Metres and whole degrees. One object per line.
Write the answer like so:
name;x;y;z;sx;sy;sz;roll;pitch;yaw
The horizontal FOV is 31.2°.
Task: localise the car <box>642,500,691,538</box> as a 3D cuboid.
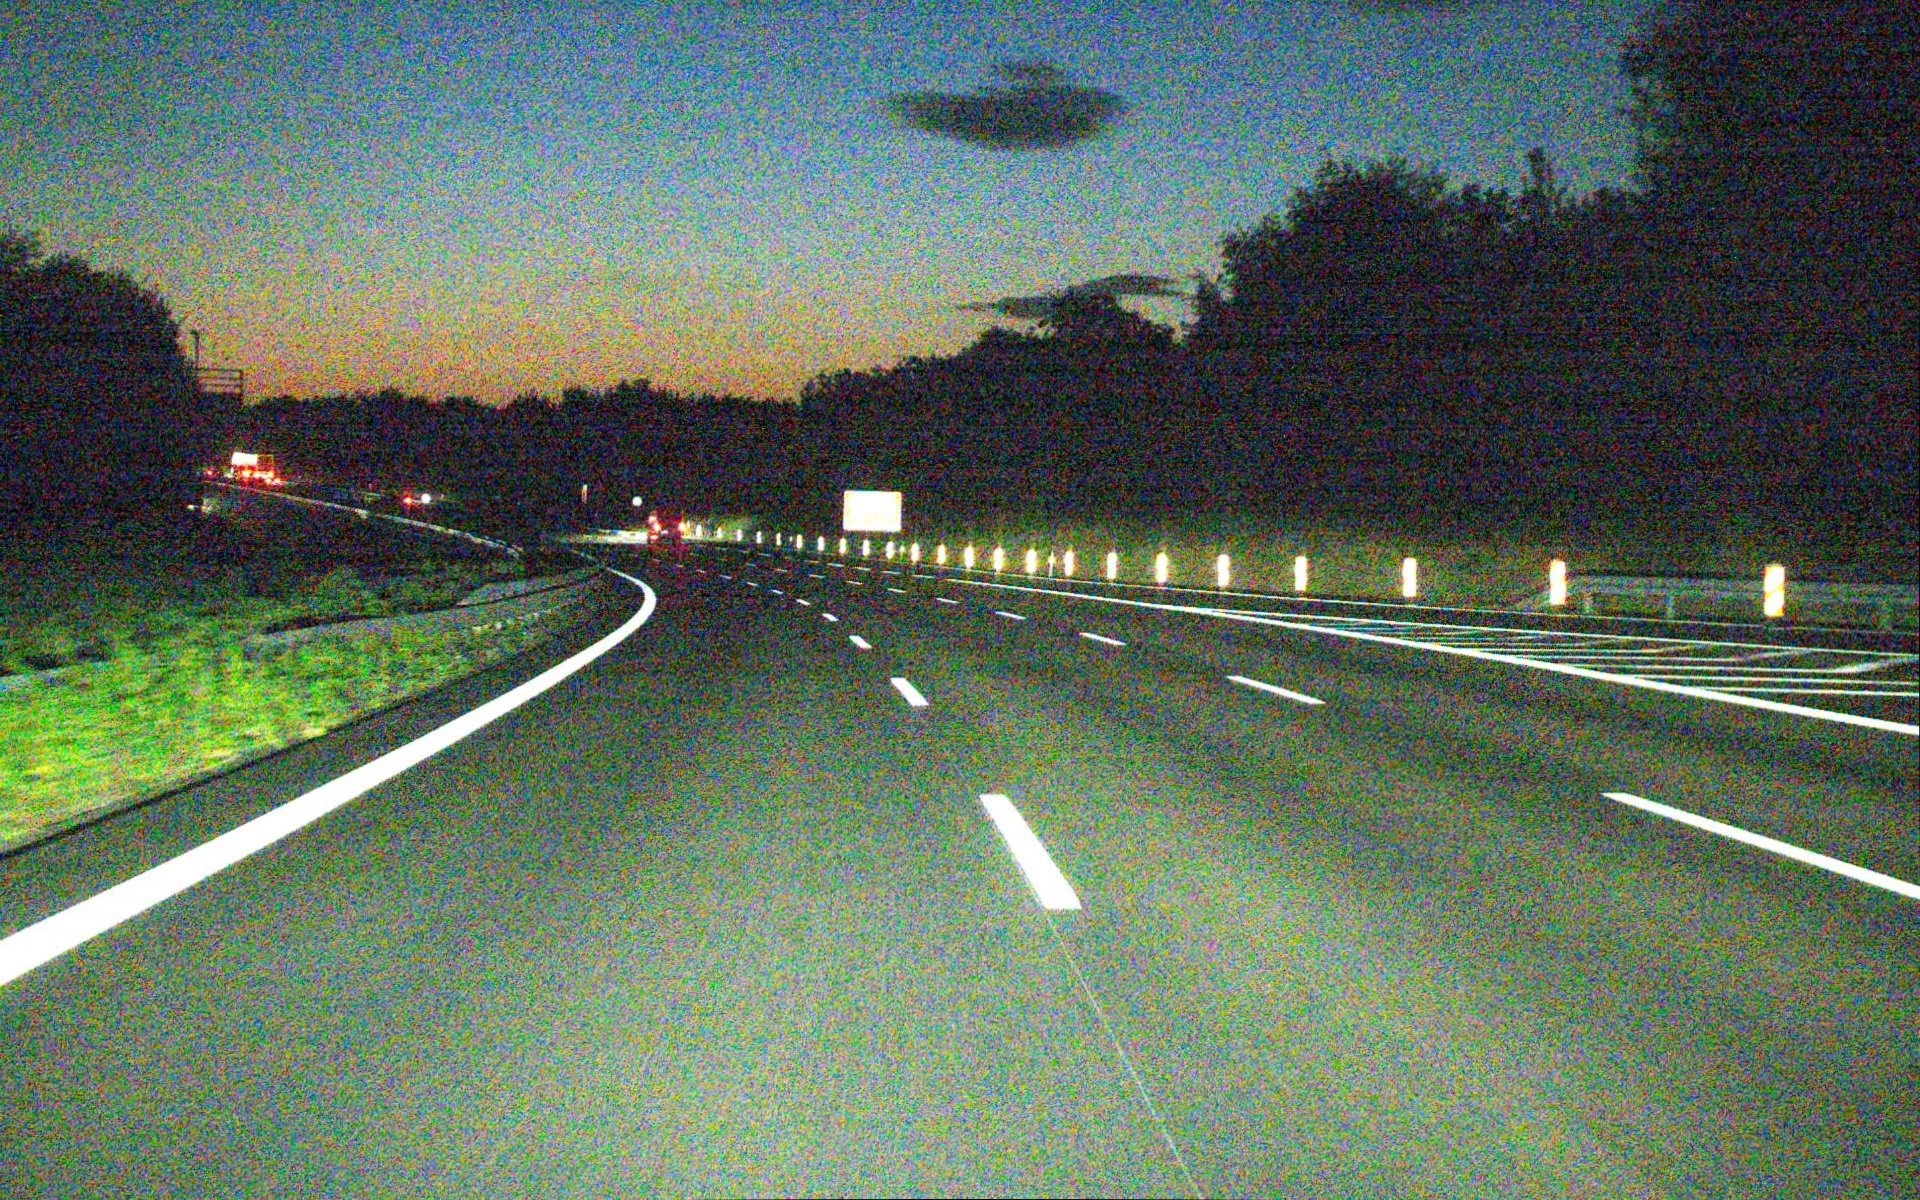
car;-21.177;-5.835;247.930;2.527;2.544;6.053;1;2;-14
